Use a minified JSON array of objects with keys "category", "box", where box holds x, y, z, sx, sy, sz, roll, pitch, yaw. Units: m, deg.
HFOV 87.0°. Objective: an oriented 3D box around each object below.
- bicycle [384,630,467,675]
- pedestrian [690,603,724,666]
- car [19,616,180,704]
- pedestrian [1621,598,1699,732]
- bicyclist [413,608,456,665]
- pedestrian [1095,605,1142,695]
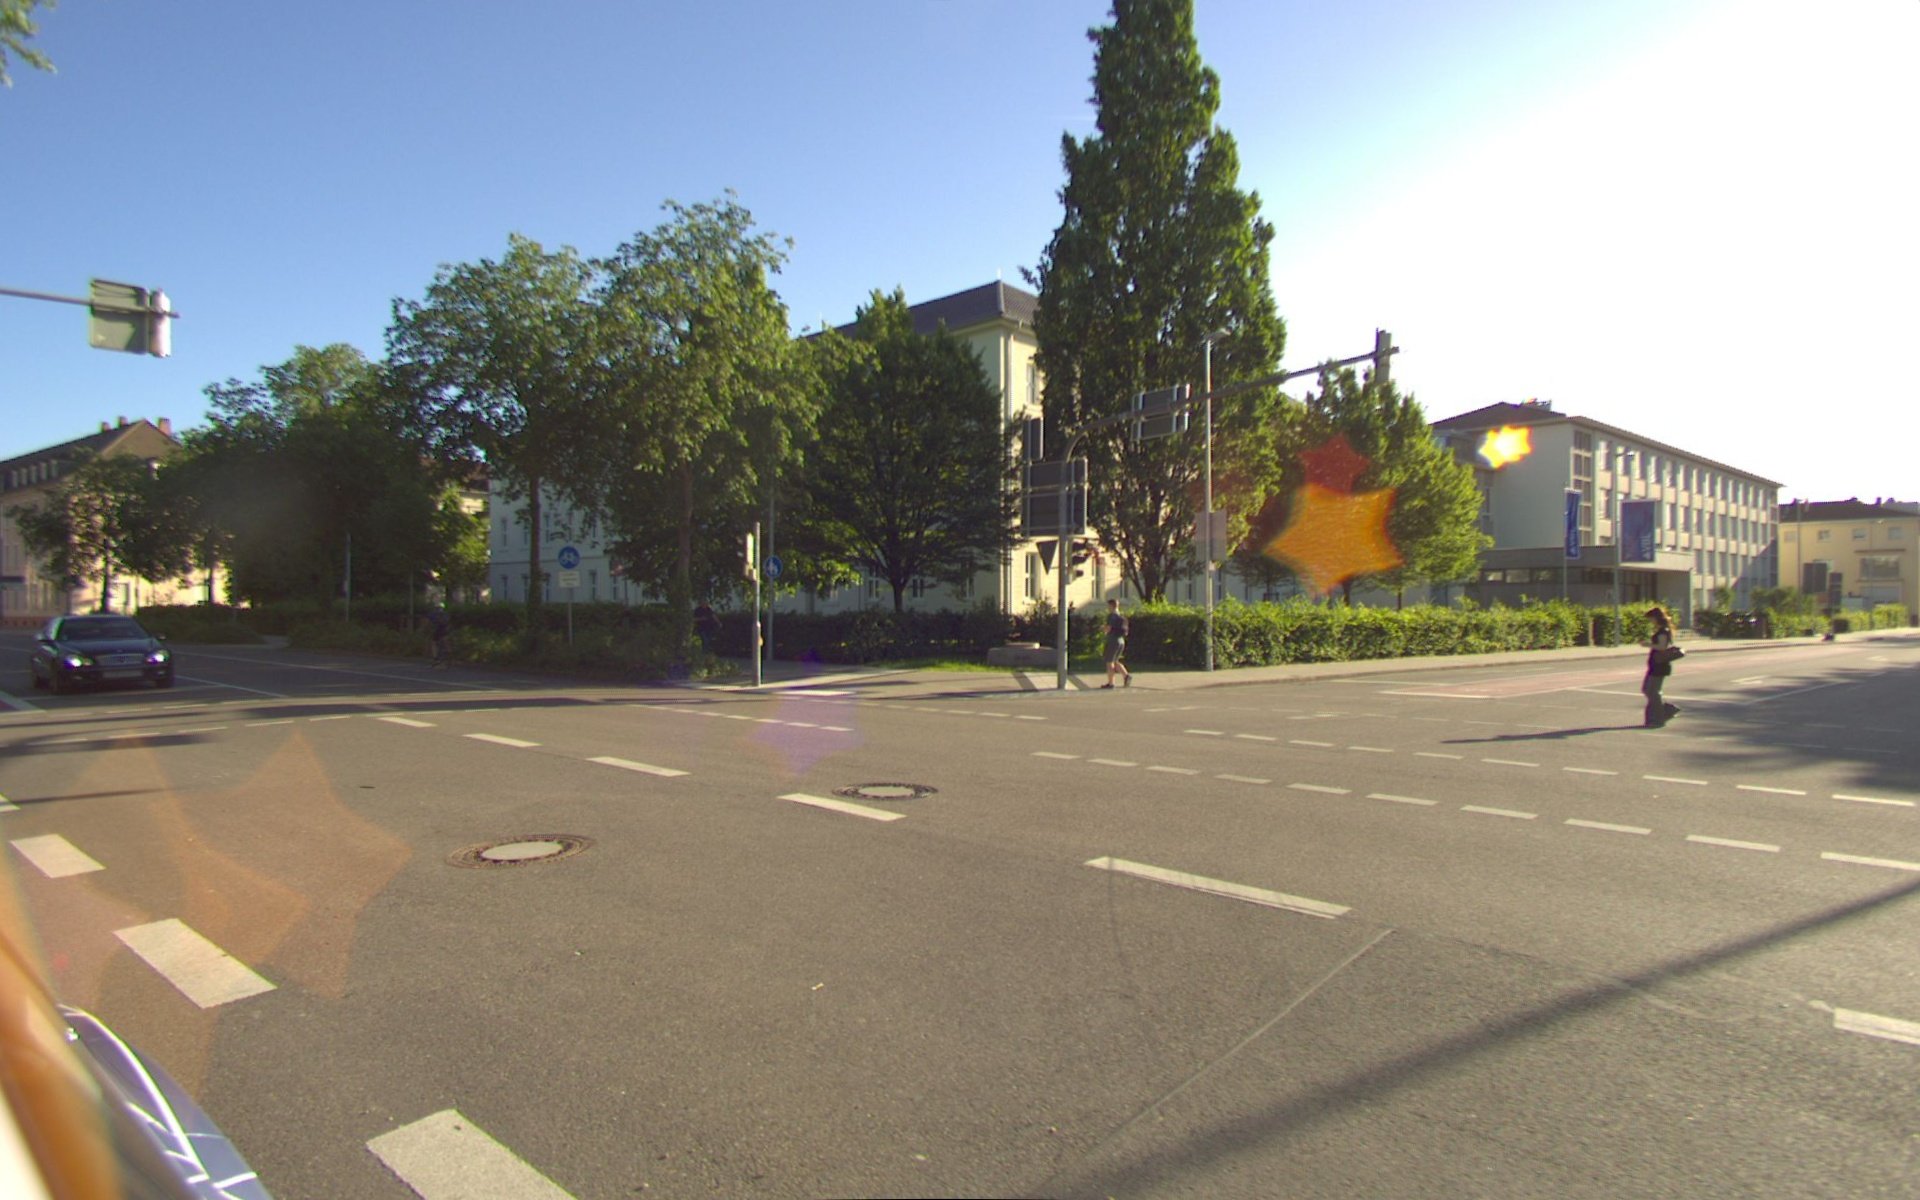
[{"category":"bicycle","box":[-14.081,1.373,26.654,2.173,1.125,0.693,0,-1,21]},{"category":"pedestrian","box":[-6.906,0.942,27.628,0.681,1.694,0.681,1,-1,-40]},{"category":"car","box":[-16.567,1.049,19.401,4.525,1.428,1.700,-1,1,41]},{"category":"pedestrian","box":[9.905,0.894,14.323,0.733,1.830,0.727,1,-1,-40]},{"category":"bicyclist","box":[-13.791,0.949,26.570,0.752,1.477,0.693,0,-1,20]},{"category":"pedestrian","box":[3.311,1.029,21.182,0.681,1.830,0.681,1,-1,-40]}]
